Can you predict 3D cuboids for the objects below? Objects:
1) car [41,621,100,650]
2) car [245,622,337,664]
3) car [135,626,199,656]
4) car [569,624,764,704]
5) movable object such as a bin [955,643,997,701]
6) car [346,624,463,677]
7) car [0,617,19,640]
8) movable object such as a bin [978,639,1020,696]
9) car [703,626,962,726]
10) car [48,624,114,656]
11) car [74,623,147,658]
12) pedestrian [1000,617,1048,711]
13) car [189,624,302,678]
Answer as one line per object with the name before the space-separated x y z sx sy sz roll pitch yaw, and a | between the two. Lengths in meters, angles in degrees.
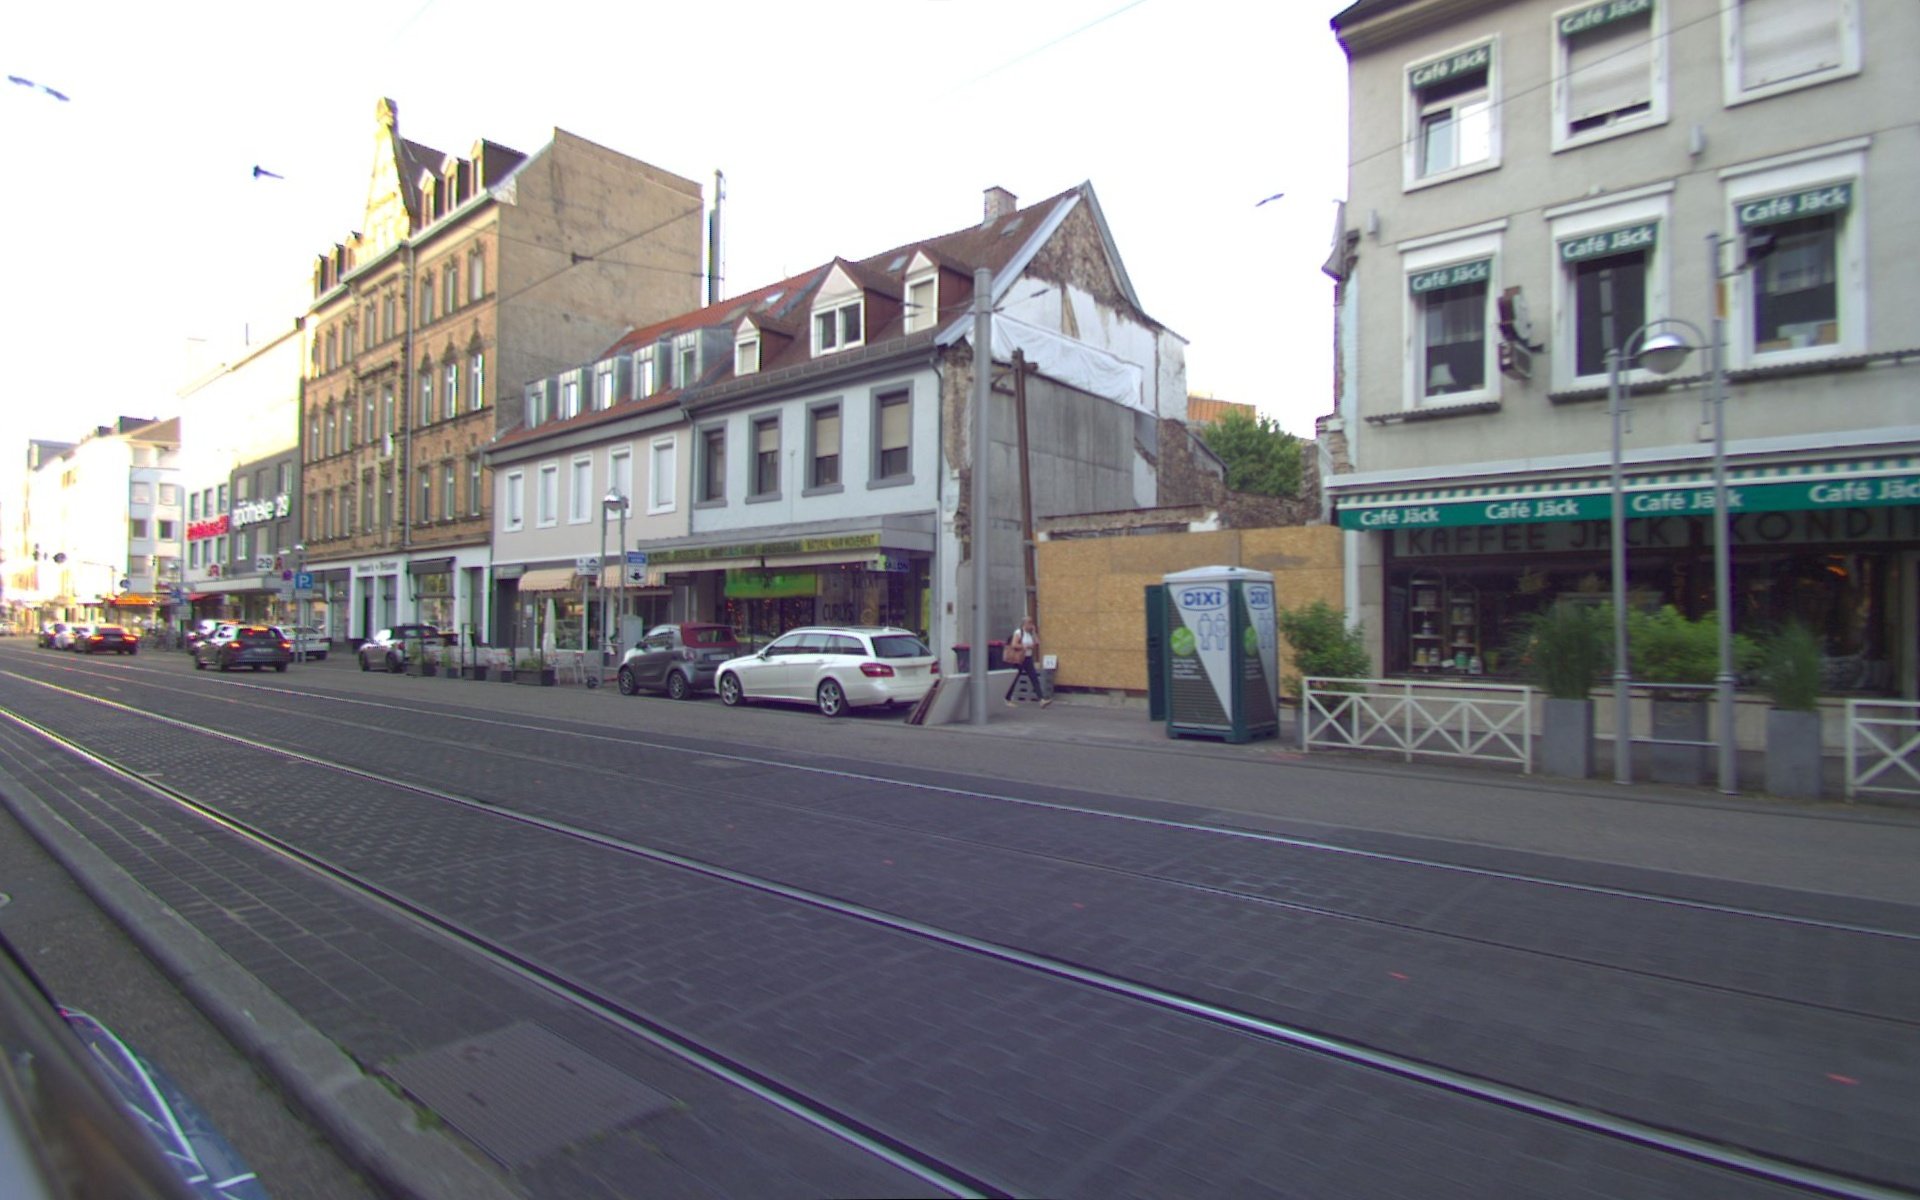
car | -49.861 1.997 56.702 3.998 1.564 1.973 -1 -2 41
car | -26.553 1.673 40.120 4.204 1.564 1.973 -1 -2 41
car | -42.291 2.163 53.966 3.998 1.564 1.973 -1 -2 41
car | -6.415 1.307 21.876 4.550 1.556 1.889 -1 -2 41
movable object such as a bin | 0.322 1.429 20.373 0.615 1.130 0.611 -2 -3 45
car | -17.644 1.554 32.084 3.998 1.564 1.973 -1 -2 41
car | -89.505 2.664 94.495 3.998 2.051 1.973 -1 -2 41
movable object such as a bin | 0.798 1.374 20.842 0.615 1.130 0.611 -2 -3 45
car | -2.425 1.253 18.338 4.877 1.556 1.972 -1 -1 42
car | -45.073 2.036 51.874 3.998 1.564 1.973 -1 -2 41
car | -39.601 1.856 47.159 3.998 1.564 1.973 -1 -2 41
pedestrian | 1.147 1.130 18.091 0.615 1.647 0.592 -2 -3 45
car | -22.257 1.529 31.470 3.998 1.564 1.973 -1 -2 41
